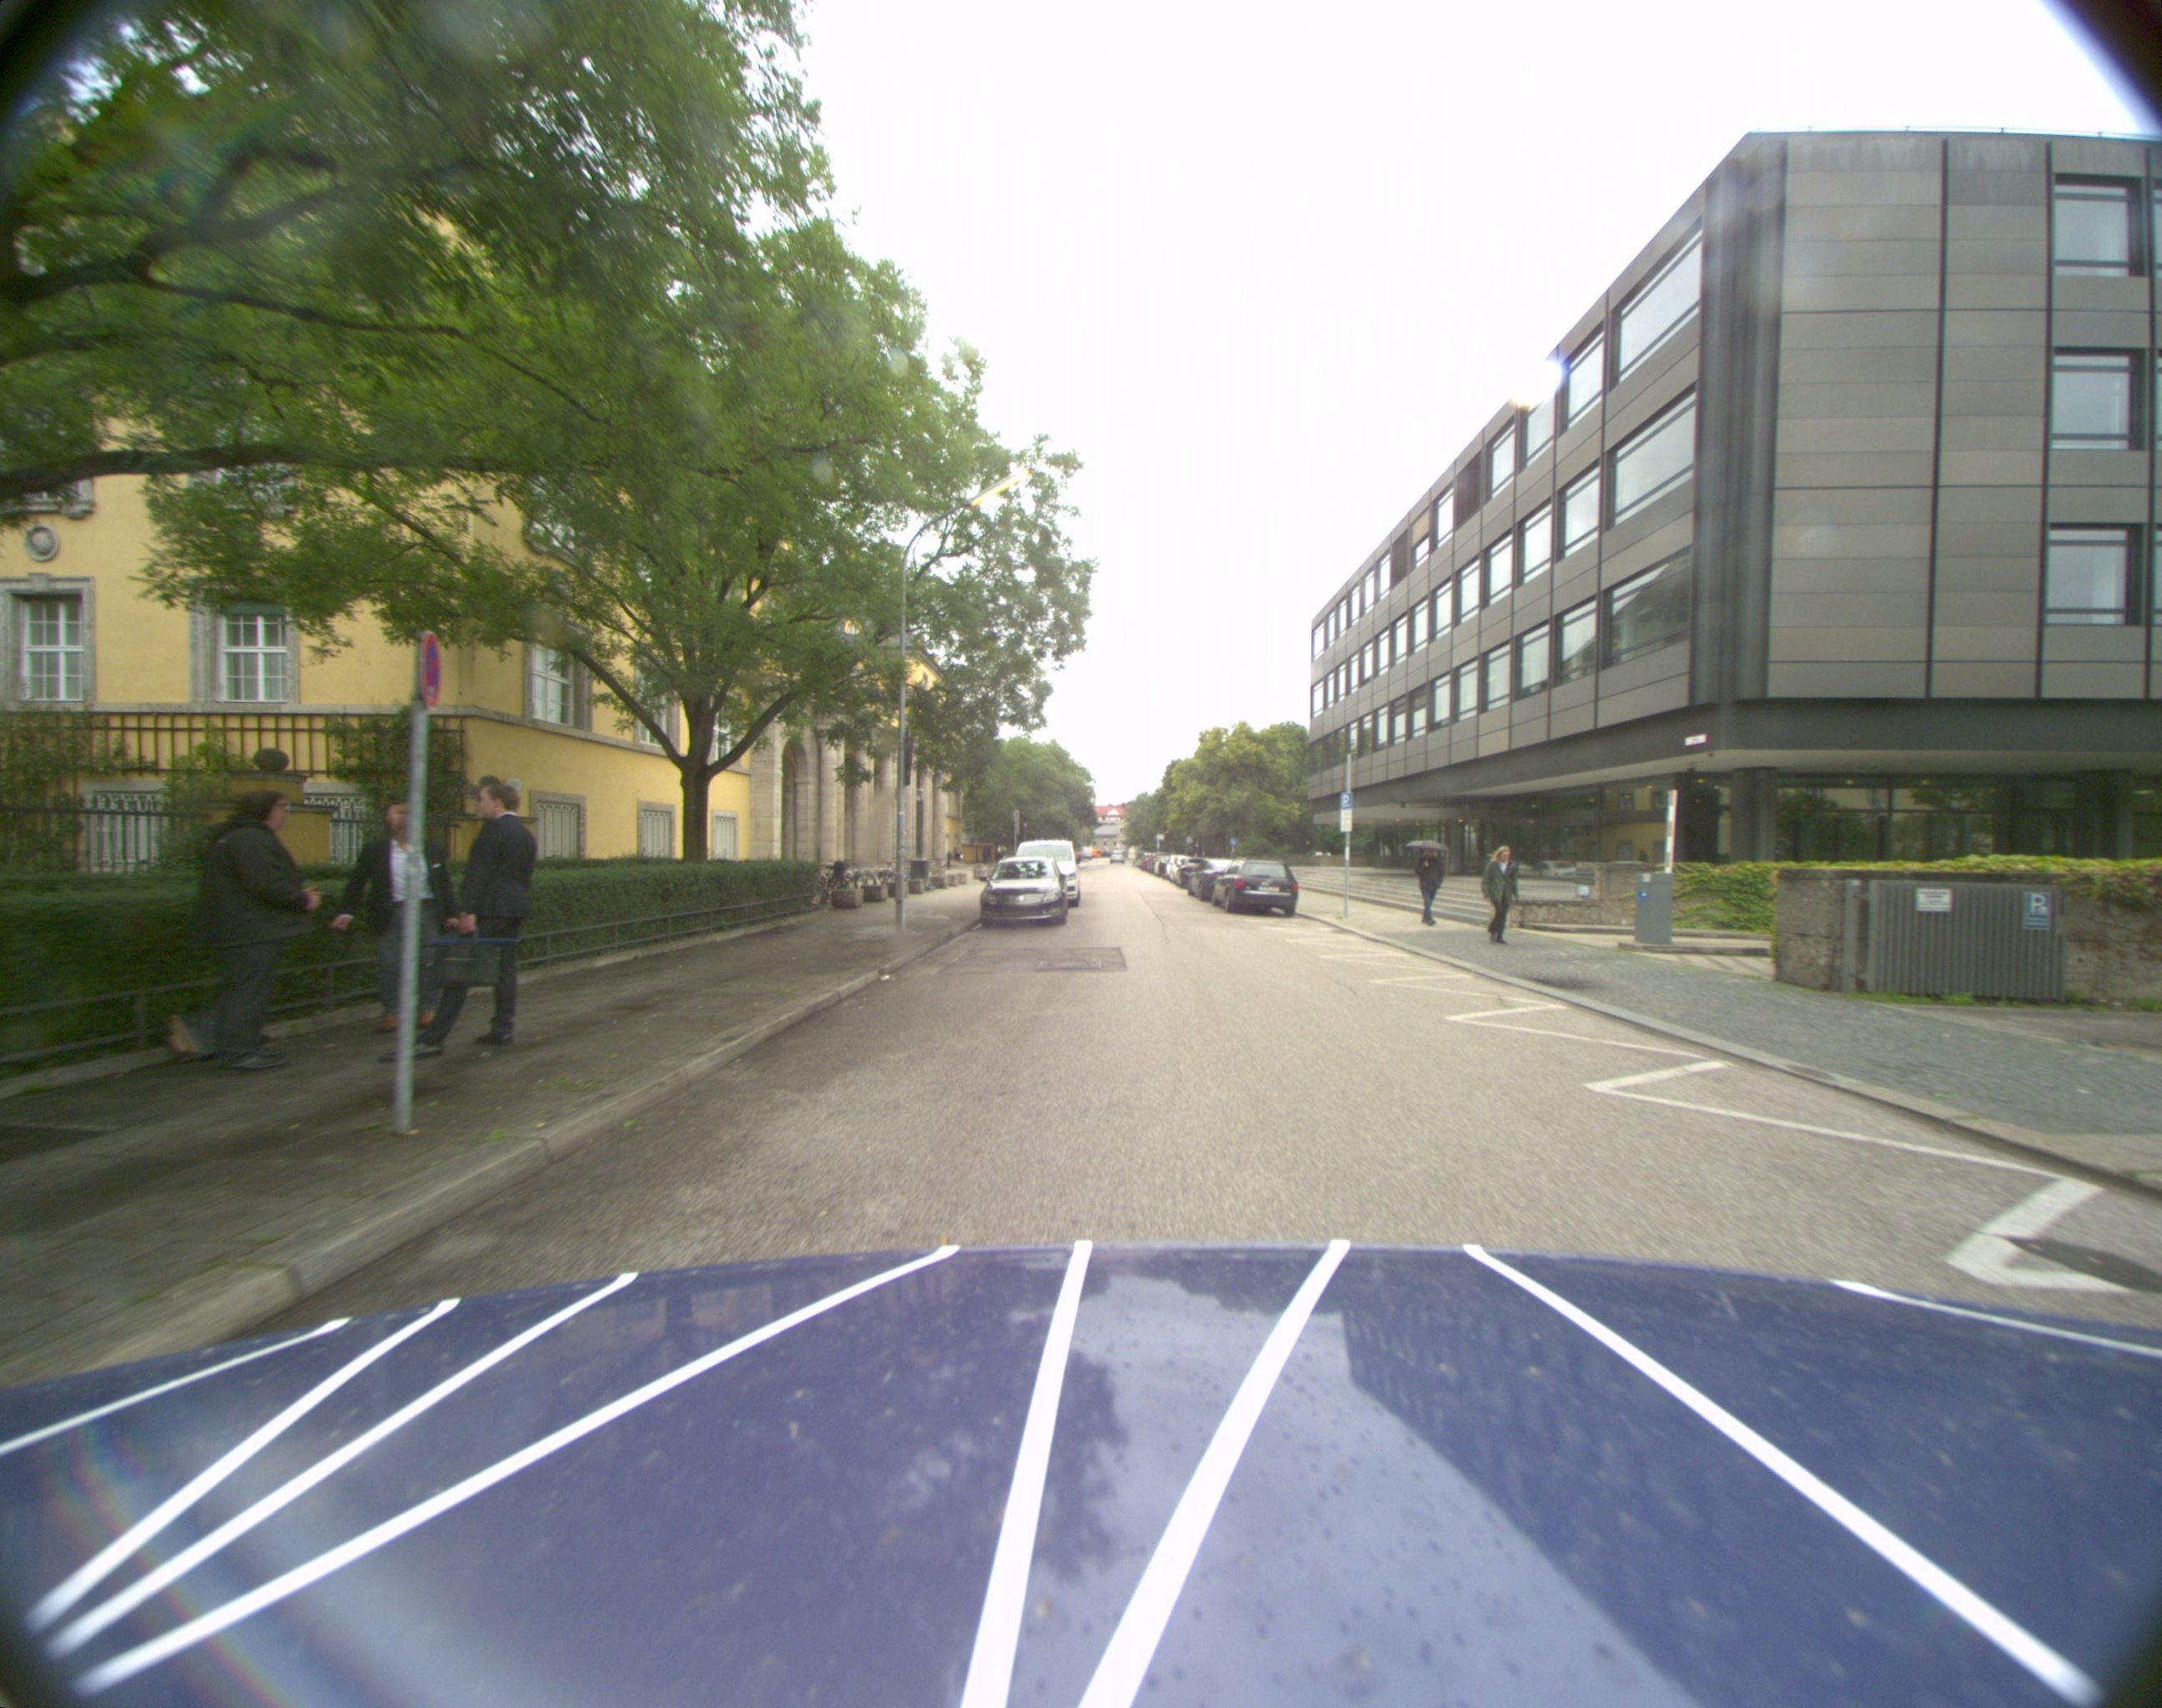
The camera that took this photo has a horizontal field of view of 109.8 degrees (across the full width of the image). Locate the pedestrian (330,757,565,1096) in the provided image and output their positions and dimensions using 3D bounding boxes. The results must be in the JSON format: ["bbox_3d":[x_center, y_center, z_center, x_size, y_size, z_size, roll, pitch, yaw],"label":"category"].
[{"bbox_3d":[-4.354,0.454,5.316,0.744,2.122,1.056,1,1,2],"label":"pedestrian"}]

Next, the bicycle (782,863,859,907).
[{"bbox_3d":[-7.064,0.825,20.608,1.936,1.107,0.471,2,1,4],"label":"bicycle"}]

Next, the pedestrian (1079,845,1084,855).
[{"bbox_3d":[0.109,-0.706,133.779,0.777,1.855,0.997,-2,2,-4],"label":"pedestrian"}]

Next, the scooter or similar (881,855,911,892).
[{"bbox_3d":[-6.372,0.670,26.138,0.539,1.215,1.009,1,1,-43],"label":"scooter or similar"}]

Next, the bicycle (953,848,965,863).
[{"bbox_3d":[-11.055,0.118,68.886,0.601,1.299,2.165,1,1,2],"label":"bicycle"}]

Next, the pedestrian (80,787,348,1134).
[{"bbox_3d":[-5.420,0.580,4.787,0.742,1.896,1.058,2,1,38],"label":"pedestrian"}]

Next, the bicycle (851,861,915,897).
[{"bbox_3d":[-6.458,0.827,24.851,1.936,1.107,0.471,2,1,-1],"label":"bicycle"}]

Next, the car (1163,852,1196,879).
[{"bbox_3d":[5.876,0.671,45.489,1.547,1.462,3.553,2,1,2],"label":"car"}]

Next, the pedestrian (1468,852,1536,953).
[{"bbox_3d":[7.503,0.839,13.590,0.754,1.739,0.953,-2,1,8],"label":"pedestrian"}]

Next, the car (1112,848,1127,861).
[{"bbox_3d":[5.343,0.047,105.033,2.029,1.679,4.678,1,0,3],"label":"car"}]

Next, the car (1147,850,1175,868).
[{"bbox_3d":[6.549,0.383,62.810,1.998,1.452,4.648,1,0,3],"label":"car"}]

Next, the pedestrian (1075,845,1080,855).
[{"bbox_3d":[-0.655,-0.713,133.797,0.777,1.855,0.997,-2,2,-6],"label":"pedestrian"}]

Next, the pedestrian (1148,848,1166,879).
[{"bbox_3d":[4.508,0.556,45.199,0.893,1.742,0.690,3,1,-7],"label":"pedestrian"}]

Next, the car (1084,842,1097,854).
[{"bbox_3d":[1.879,-1.154,149.025,2.236,2.289,4.728,-2,1,-3],"label":"car"}]

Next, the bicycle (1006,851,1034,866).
[{"bbox_3d":[-5.317,0.394,65.843,2.264,1.088,0.601,6,1,-9],"label":"bicycle"}]

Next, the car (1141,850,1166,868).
[{"bbox_3d":[6.510,0.421,68.283,1.998,1.535,4.364,1,0,3],"label":"car"}]

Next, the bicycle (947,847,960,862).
[{"bbox_3d":[-11.139,0.027,66.528,0.601,1.299,2.264,1,1,2],"label":"bicycle"}]

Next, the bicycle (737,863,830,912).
[{"bbox_3d":[-7.156,0.800,18.330,2.037,1.107,0.471,2,1,-1],"label":"bicycle"}]

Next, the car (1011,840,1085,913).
[{"bbox_3d":[-0.888,0.602,23.381,1.849,1.922,5.272,-2,0,1],"label":"car"}]

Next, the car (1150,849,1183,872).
[{"bbox_3d":[6.275,0.475,56.267,1.998,1.574,4.522,1,0,2],"label":"car"}]

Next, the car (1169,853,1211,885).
[{"bbox_3d":[5.664,0.743,39.924,1.685,1.432,4.279,3,1,3],"label":"car"}]

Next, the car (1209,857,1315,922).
[{"bbox_3d":[4.909,0.879,21.341,1.998,1.482,4.884,2,1,3],"label":"car"}]

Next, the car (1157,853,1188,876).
[{"bbox_3d":[6.042,0.669,50.583,1.762,1.392,4.218,4,1,3],"label":"car"}]

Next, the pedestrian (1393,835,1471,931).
[{"bbox_3d":[7.776,0.624,16.905,1.138,2.043,1.221,1,1,1],"label":"pedestrian"}]

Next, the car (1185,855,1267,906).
[{"bbox_3d":[4.942,0.842,26.605,1.927,1.431,4.917,2,1,0],"label":"car"}]

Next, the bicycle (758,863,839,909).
[{"bbox_3d":[-7.362,0.821,19.829,1.936,1.107,0.471,2,1,4],"label":"bicycle"}]

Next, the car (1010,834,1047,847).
[{"bbox_3d":[-7.220,-1.820,104.234,4.908,1.672,1.966,1,1,0],"label":"car"}]

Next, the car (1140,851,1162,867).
[{"bbox_3d":[6.725,0.420,73.393,1.998,1.452,4.364,1,0,3],"label":"car"}]

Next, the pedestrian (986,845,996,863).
[{"bbox_3d":[-8.526,-0.002,71.938,0.790,1.736,1.056,1,1,2],"label":"pedestrian"}]

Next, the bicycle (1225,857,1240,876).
[{"bbox_3d":[9.236,0.753,46.344,0.644,1.157,1.527,-2,1,1],"label":"bicycle"}]

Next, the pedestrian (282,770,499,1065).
[{"bbox_3d":[-5.394,0.454,6.017,0.744,2.122,1.056,1,1,2],"label":"pedestrian"}]

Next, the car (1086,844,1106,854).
[{"bbox_3d":[4.194,-1.340,211.854,2.578,2.521,4.973,-4,2,-45],"label":"car"}]

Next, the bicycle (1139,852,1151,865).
[{"bbox_3d":[6.754,0.492,80.313,0.574,1.275,1.421,0,1,34],"label":"bicycle"}]

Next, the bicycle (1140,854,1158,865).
[{"bbox_3d":[7.057,0.583,78.776,1.700,1.101,0.598,0,1,-6],"label":"bicycle"}]

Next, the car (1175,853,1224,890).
[{"bbox_3d":[5.374,0.747,34.894,1.744,1.452,4.237,3,1,4],"label":"car"}]

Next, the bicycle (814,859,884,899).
[{"bbox_3d":[-6.931,0.731,22.710,1.936,1.107,0.471,2,1,4],"label":"bicycle"}]

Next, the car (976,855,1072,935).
[{"bbox_3d":[-1.150,0.808,17.408,1.776,1.481,4.973,-2,0,0],"label":"car"}]

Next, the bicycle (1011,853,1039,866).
[{"bbox_3d":[-4.767,0.461,64.641,2.370,1.000,0.677,3,1,-7],"label":"bicycle"}]
